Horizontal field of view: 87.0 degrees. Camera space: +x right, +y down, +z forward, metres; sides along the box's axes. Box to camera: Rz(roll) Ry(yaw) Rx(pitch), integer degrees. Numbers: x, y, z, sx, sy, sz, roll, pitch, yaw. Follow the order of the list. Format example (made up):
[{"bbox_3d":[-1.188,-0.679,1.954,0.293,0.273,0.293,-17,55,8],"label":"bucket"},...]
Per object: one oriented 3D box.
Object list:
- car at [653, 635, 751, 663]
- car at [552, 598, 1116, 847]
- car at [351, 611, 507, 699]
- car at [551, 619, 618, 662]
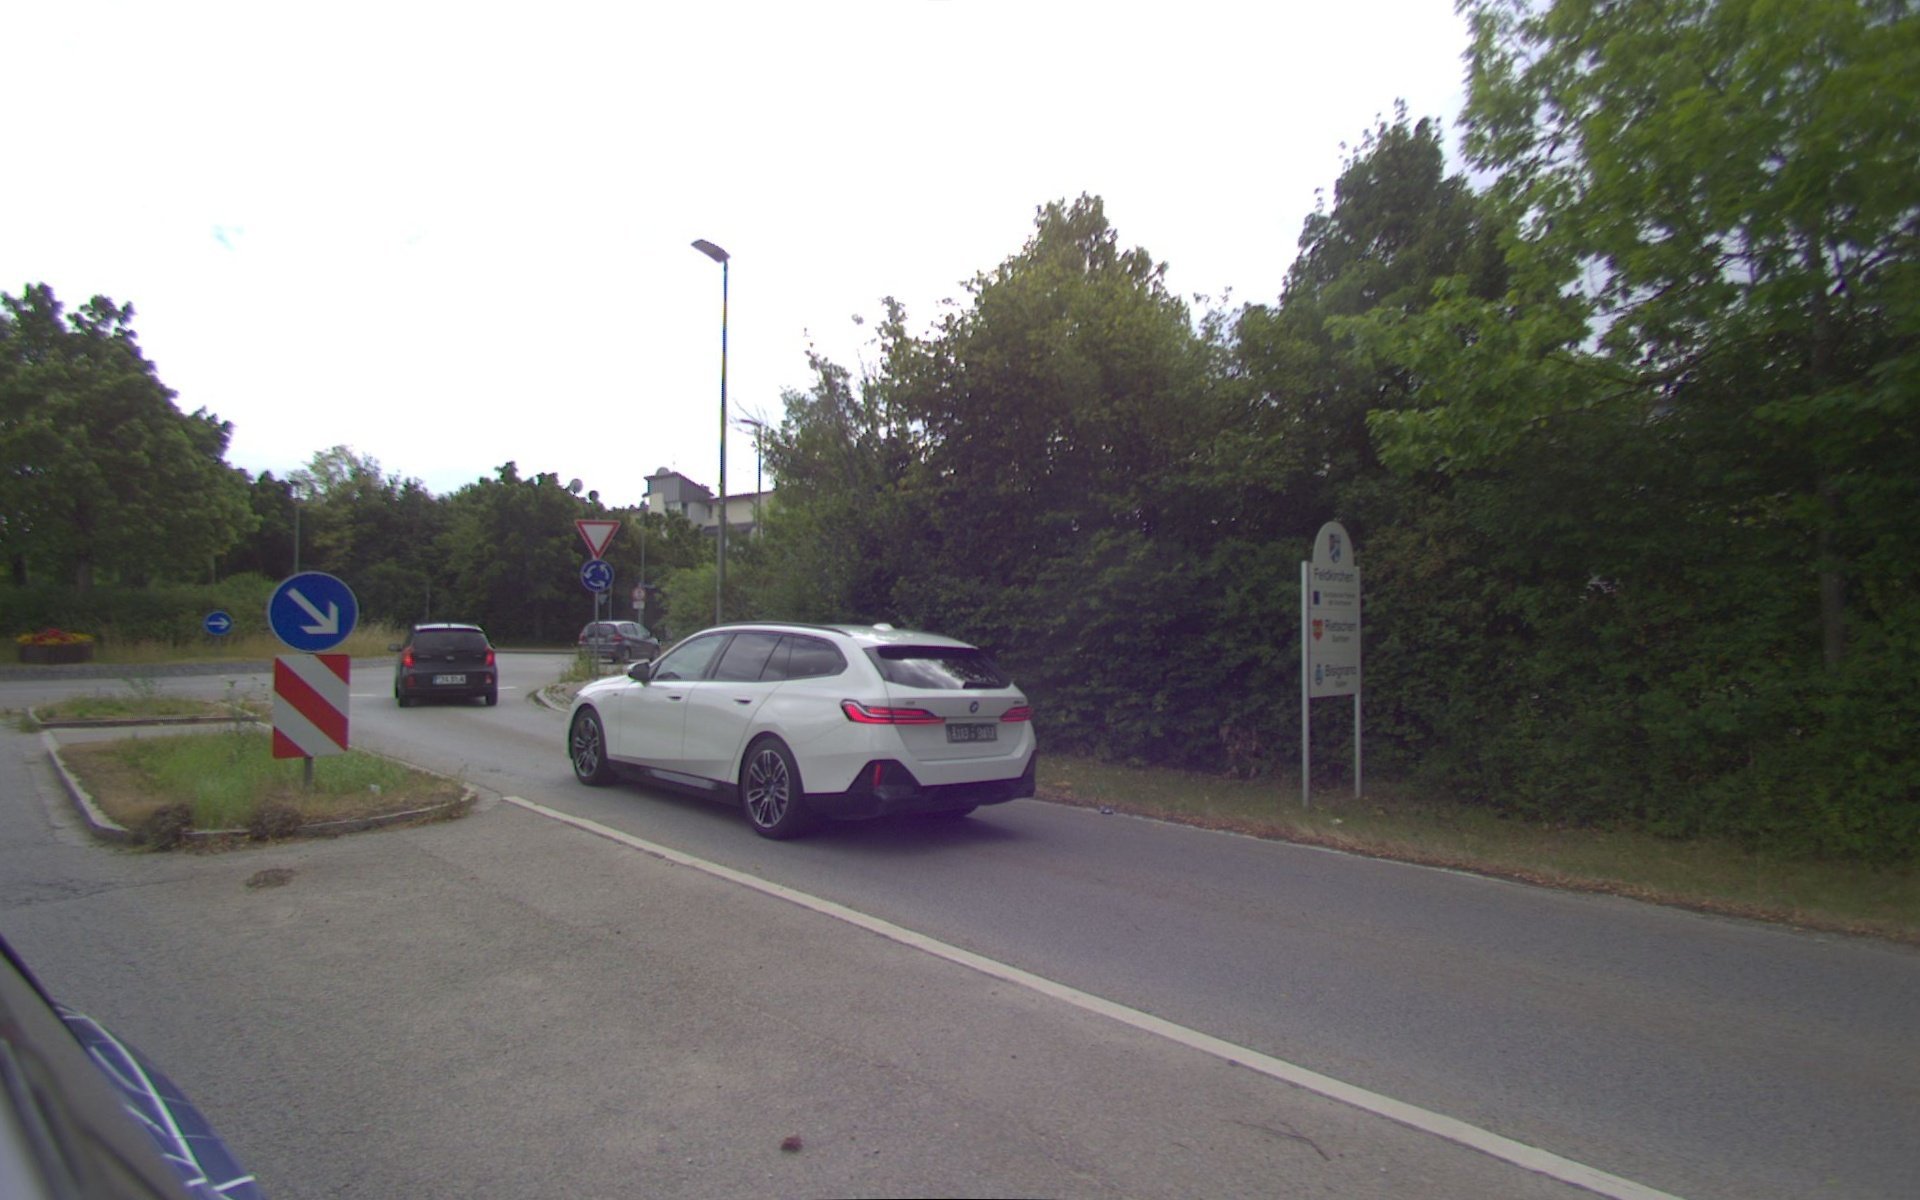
[{"bbox_3d":[-13.091,2.455,51.559,1.558,1.300,4.758,-1,-2,44],"label":"car"},{"bbox_3d":[-1.337,0.836,8.545,2.187,1.465,4.946,4,-4,-44],"label":"car"},{"bbox_3d":[-10.017,1.001,18.963,1.661,1.465,4.005,3,-4,-41],"label":"car"},{"bbox_3d":[-13.290,1.433,35.993,1.660,1.434,4.009,1,-2,-12],"label":"car"}]
